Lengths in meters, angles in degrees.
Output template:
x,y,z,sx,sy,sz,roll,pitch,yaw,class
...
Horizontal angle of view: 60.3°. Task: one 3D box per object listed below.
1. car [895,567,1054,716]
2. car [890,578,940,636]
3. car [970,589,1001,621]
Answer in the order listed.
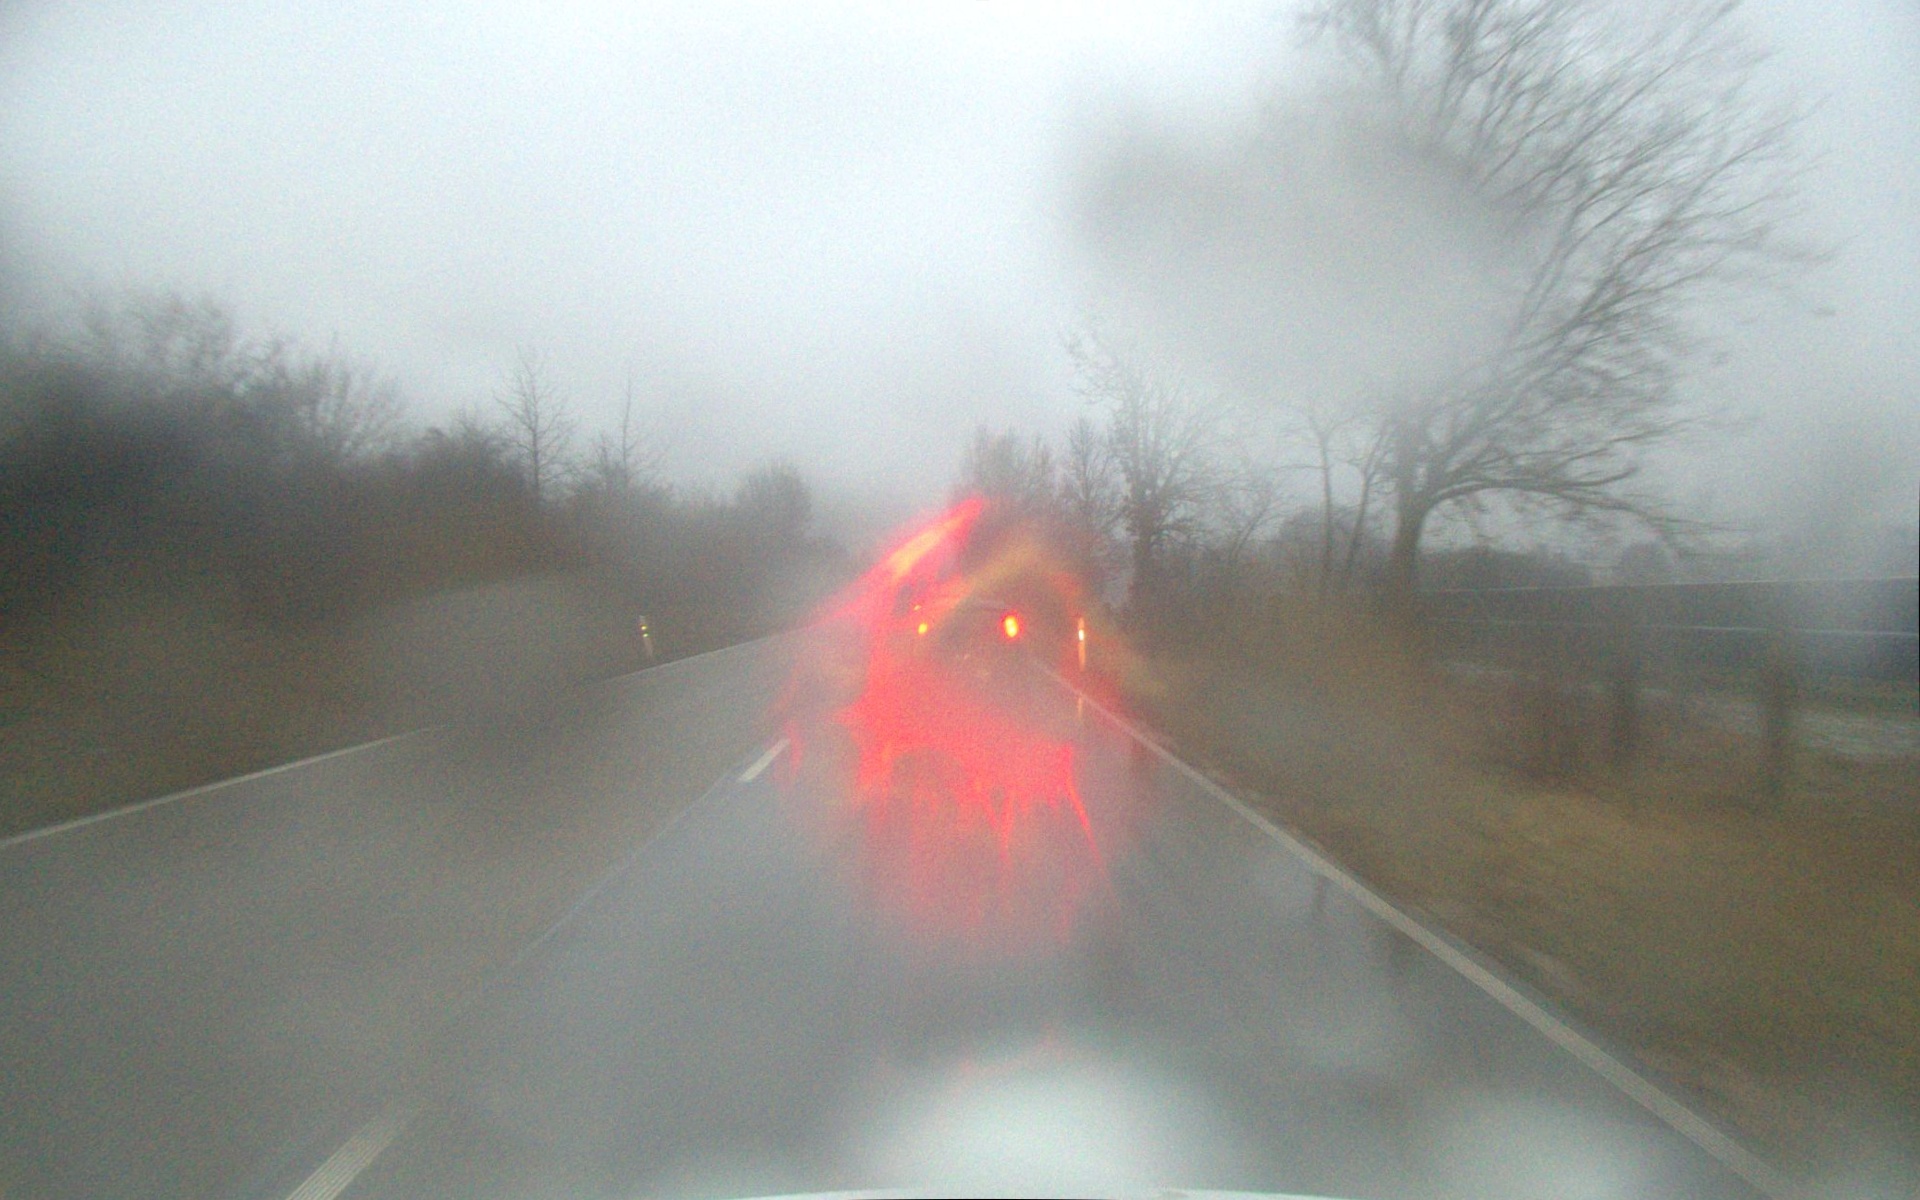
x,y,z,sx,sy,sz,roll,pitch,yaw,class
0.202,0.514,22.676,1.952,1.816,4.000,1,0,1,car
-1.526,0.239,57.260,1.542,1.907,3.709,1,0,1,car
1.382,0.263,87.629,1.531,1.619,3.489,1,0,2,car
